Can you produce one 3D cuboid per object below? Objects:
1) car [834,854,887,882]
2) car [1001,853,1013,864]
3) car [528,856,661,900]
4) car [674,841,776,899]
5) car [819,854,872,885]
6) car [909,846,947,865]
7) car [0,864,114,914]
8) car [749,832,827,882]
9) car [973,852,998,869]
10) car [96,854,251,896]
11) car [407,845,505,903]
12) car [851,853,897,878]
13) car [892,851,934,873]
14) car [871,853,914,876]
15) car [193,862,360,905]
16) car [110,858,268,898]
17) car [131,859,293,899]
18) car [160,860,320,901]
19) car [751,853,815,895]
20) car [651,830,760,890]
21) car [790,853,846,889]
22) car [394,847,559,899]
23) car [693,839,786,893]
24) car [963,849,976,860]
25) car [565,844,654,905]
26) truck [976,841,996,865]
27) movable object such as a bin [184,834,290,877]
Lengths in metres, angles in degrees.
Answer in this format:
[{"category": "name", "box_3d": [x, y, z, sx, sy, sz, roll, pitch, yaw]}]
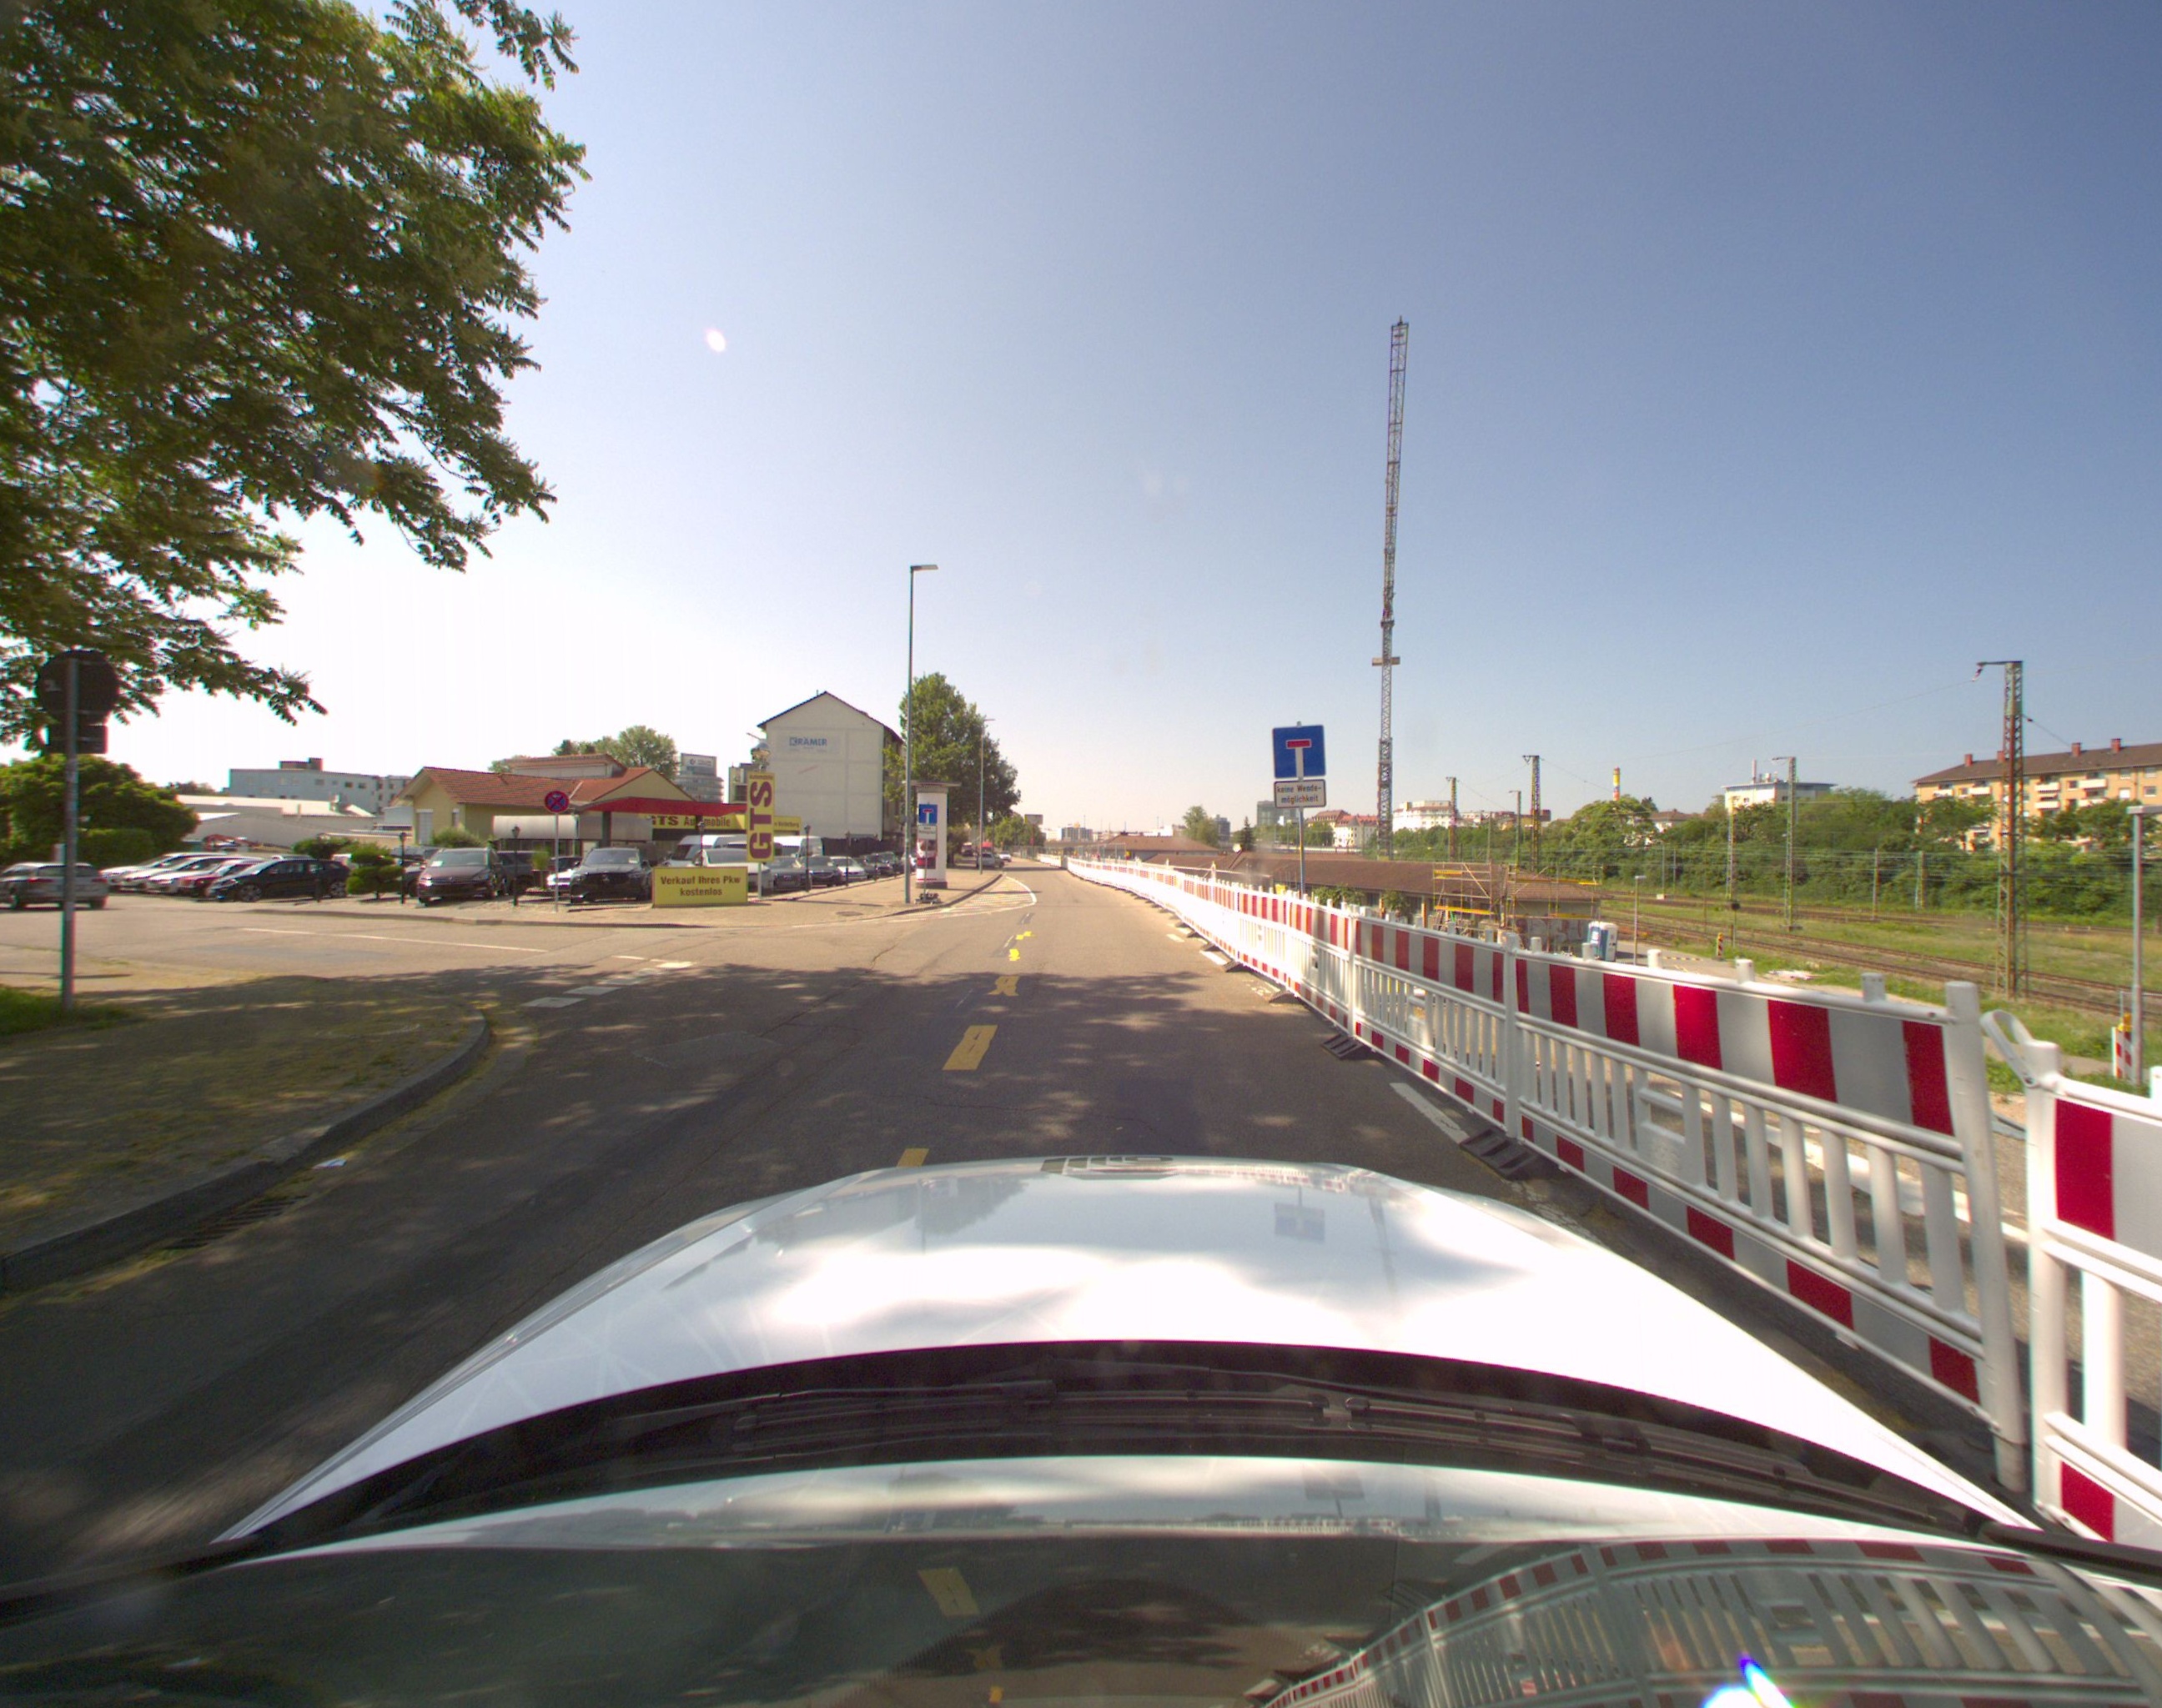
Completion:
[{"category": "car", "box_3d": [-12.749, 0.792, 46.917, 1.679, 1.473, 3.957, -2, 1, -34]}, {"category": "car", "box_3d": [-10.209, 0.650, 112.448, 1.714, 1.416, 4.070, 0, -1, -5]}, {"category": "car", "box_3d": [-19.028, 0.888, 32.137, 1.897, 1.575, 4.700, 0, 0, 10]}, {"category": "car", "box_3d": [-11.909, 0.582, 27.100, 1.991, 1.707, 4.610, -1, -2, -38]}, {"category": "car", "box_3d": [-12.434, 0.802, 42.889, 1.791, 1.473, 3.962, -3, 0, -29]}, {"category": "car", "box_3d": [-16.302, 0.176, 86.852, 3.925, 1.959, 1.752, 2, 0, -11]}, {"category": "car", "box_3d": [-33.198, 1.074, 26.114, 4.549, 1.493, 1.692, 0, 0, 25]}, {"category": "car", "box_3d": [-15.855, 0.190, 44.424, 2.240, 2.430, 5.712, 3, -1, -3]}, {"category": "car", "box_3d": [-8.837, 0.586, 75.491, 1.863, 1.498, 4.030, 0, 1, -1]}, {"category": "car", "box_3d": [-40.036, 0.881, 36.061, 1.869, 1.750, 4.195, 0, 0, 23]}, {"category": "car", "box_3d": [-19.676, 0.579, 25.822, 1.815, 1.656, 4.275, -1, 0, -29]}, {"category": "car", "box_3d": [-13.153, 0.742, 51.611, 1.678, 1.473, 3.960, -2, 0, -32]}, {"category": "car", "box_3d": [-12.354, 0.585, 59.773, 1.788, 1.473, 3.960, -2, 1, -32]}, {"category": "car", "box_3d": [-13.063, 0.716, 56.213, 1.678, 1.473, 3.960, -2, 1, -32]}, {"category": "car", "box_3d": [-30.755, 1.087, 31.290, 1.847, 1.489, 4.156, 0, 0, 23]}, {"category": "car", "box_3d": [-37.906, 0.959, 34.730, 1.847, 1.603, 4.148, 0, 0, 23]}, {"category": "car", "box_3d": [-35.653, 0.980, 33.557, 1.847, 1.489, 4.142, 0, 0, 23]}, {"category": "car", "box_3d": [-33.490, 0.999, 32.570, 1.777, 1.489, 4.081, 0, 0, 23]}, {"category": "car", "box_3d": [-11.763, 0.738, 31.984, 1.846, 1.473, 3.965, -2, 0, -27]}, {"category": "car", "box_3d": [-18.534, 0.301, 40.626, 2.267, 2.758, 6.158, 0, -1, 4]}, {"category": "car", "box_3d": [-12.112, 0.748, 37.385, 1.846, 1.473, 3.965, -2, 1, -27]}, {"category": "car", "box_3d": [-23.094, 0.687, 31.207, 4.918, 1.842, 2.137, 0, 0, -41]}, {"category": "car", "box_3d": [-15.819, 0.594, 38.064, 2.238, 2.350, 4.823, 0, -1, 1]}, {"category": "car", "box_3d": [-20.768, 0.087, 151.520, 1.931, 1.834, 3.921, 4, -1, -1]}, {"category": "car", "box_3d": [-14.424, 0.627, 25.145, 2.053, 1.707, 4.277, 0, -1, -26]}, {"category": "truck", "box_3d": [-11.014, -0.049, 94.798, 2.234, 2.648, 5.670, 0, -1, -5]}, {"category": "movable object such as a bin", "box_3d": [-59.873, 0.108, 57.863, 1.975, 2.907, 4.863, 0, 0, 28]}]
